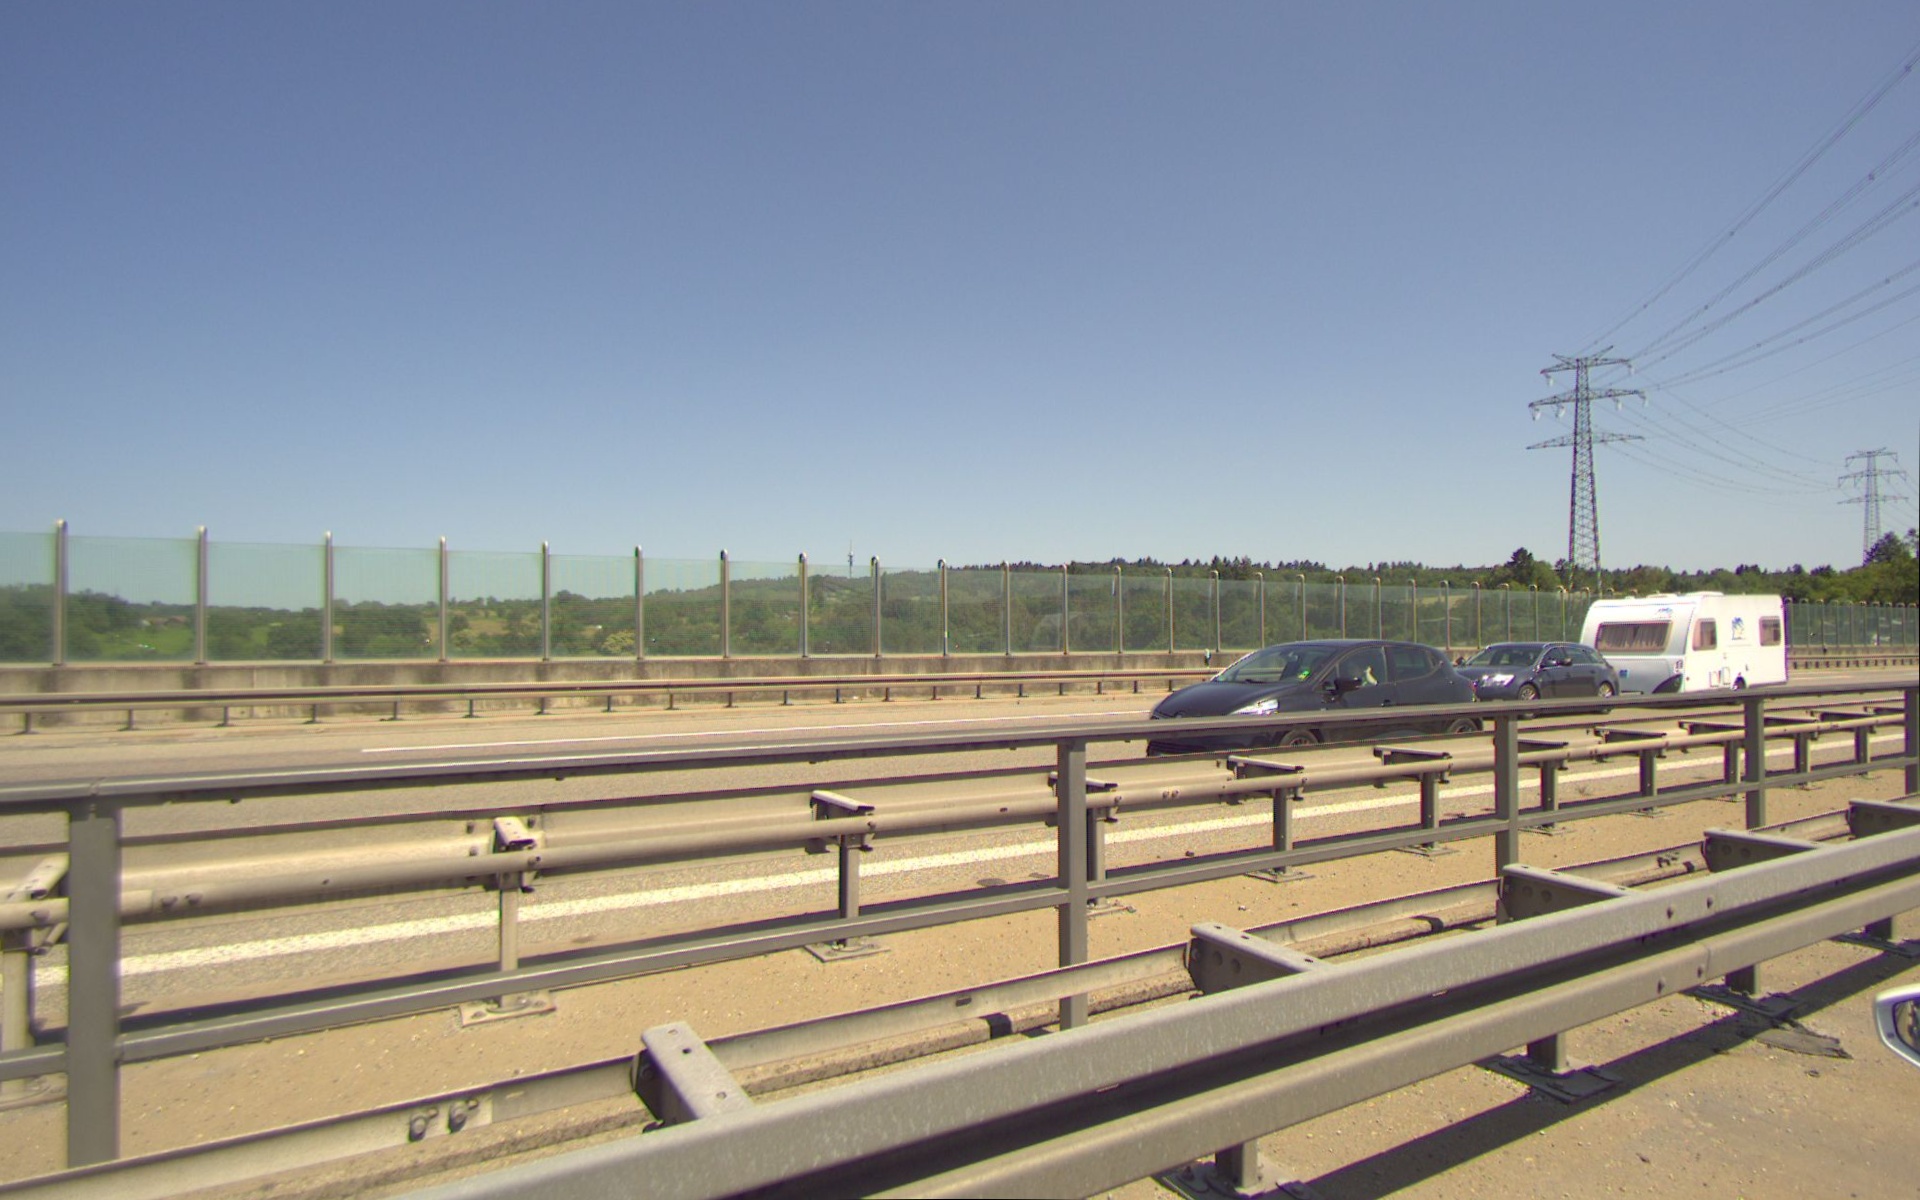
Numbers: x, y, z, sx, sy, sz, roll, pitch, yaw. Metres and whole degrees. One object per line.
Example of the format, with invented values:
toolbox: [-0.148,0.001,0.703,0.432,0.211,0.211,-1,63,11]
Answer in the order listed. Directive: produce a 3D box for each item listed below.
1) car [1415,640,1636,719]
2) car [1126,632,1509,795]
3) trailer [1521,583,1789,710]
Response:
car: [11.390,1.526,20.162,4.627,1.426,1.767,1,-3,-30]
car: [3.877,1.103,10.780,3.951,1.467,1.662,1,-4,-29]
trailer: [16.198,1.052,23.301,6.694,2.582,2.482,1,-3,-30]
